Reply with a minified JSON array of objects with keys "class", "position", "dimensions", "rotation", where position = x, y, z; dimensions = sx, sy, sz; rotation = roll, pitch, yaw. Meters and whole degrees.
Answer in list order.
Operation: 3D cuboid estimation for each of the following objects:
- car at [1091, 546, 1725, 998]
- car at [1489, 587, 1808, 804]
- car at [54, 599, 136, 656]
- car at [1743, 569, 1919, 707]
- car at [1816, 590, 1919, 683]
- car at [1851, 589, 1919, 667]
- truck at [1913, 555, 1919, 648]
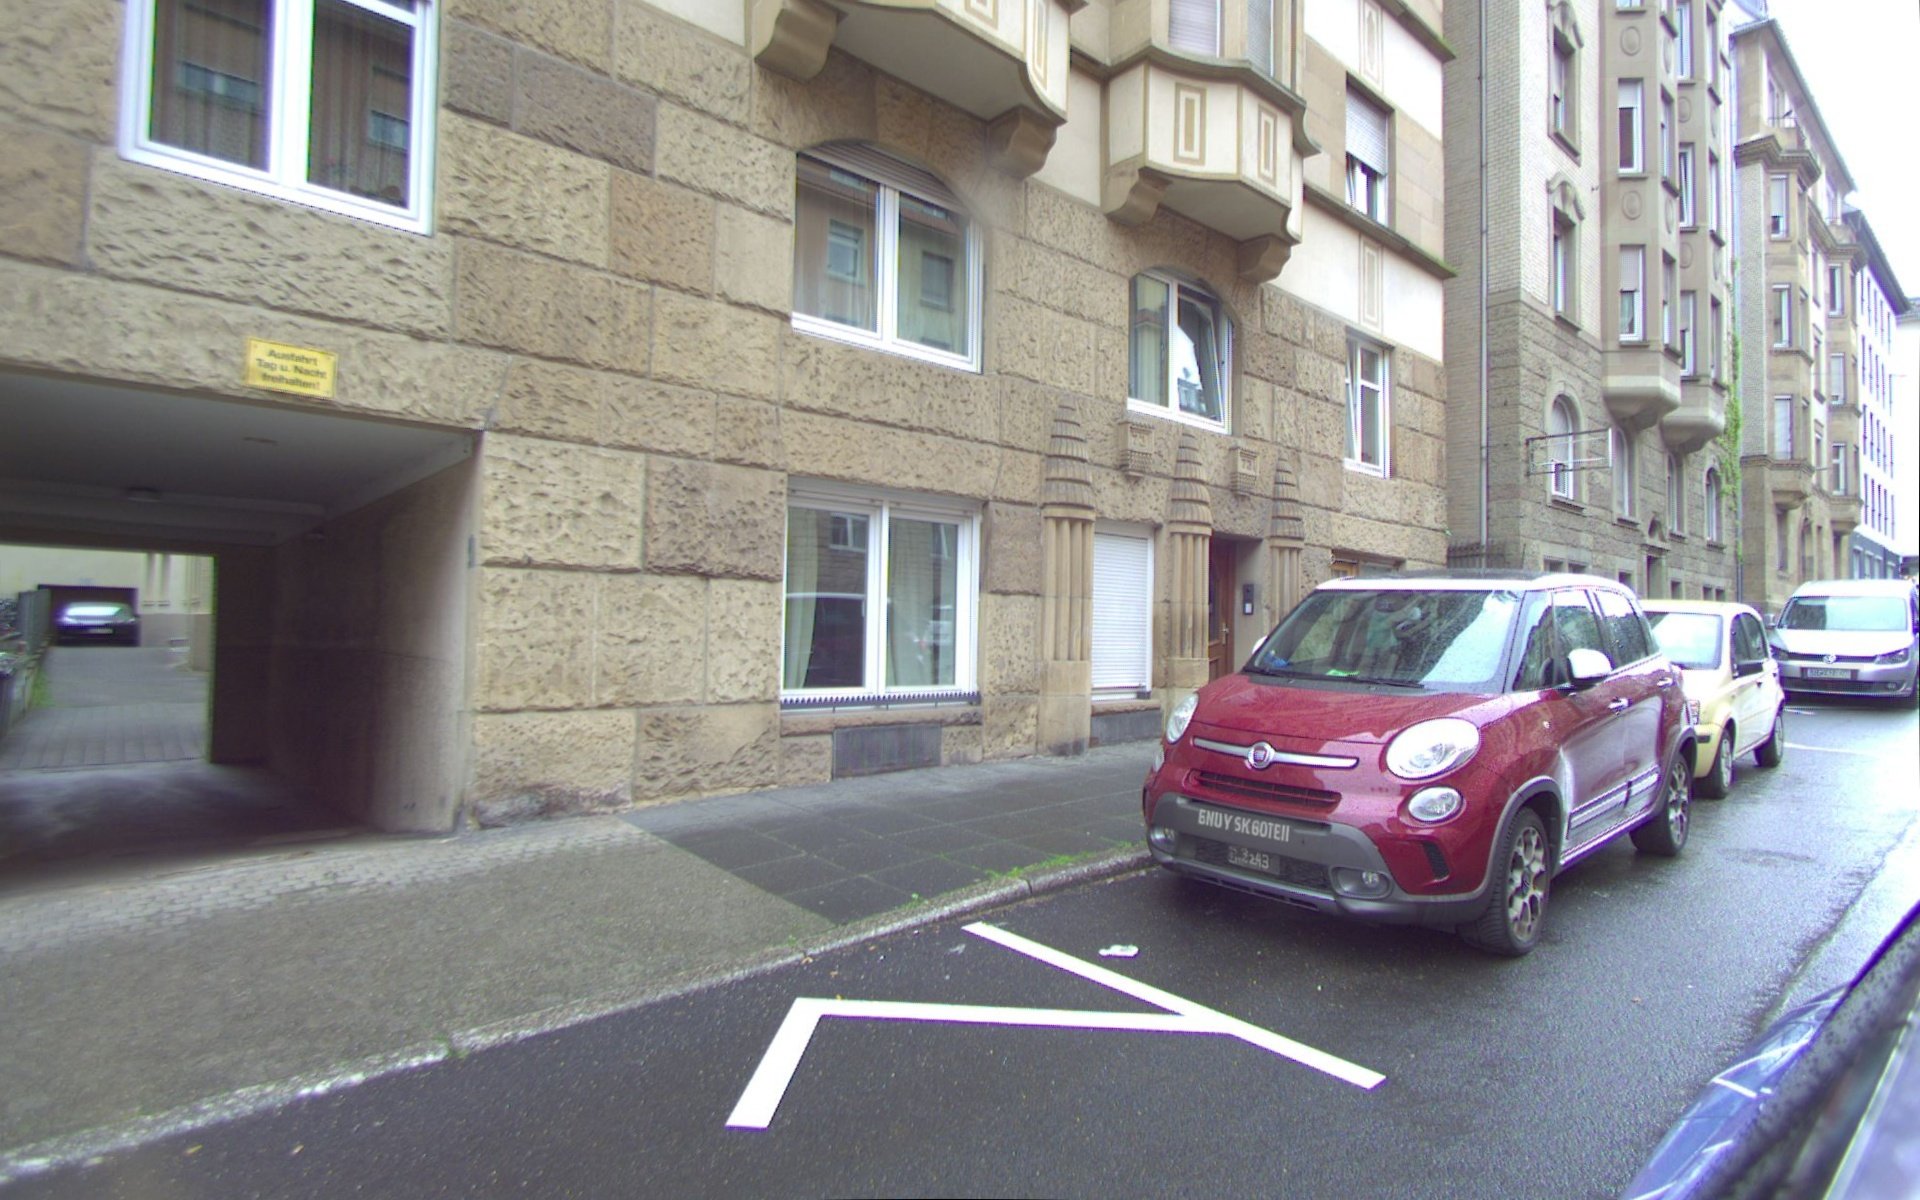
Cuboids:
[{"class":"car","position":[2.700,0.621,5.646],"dimensions":[3.932,1.619,1.804],"rotation":[0,-1,-42]},{"class":"car","position":[6.221,0.684,9.008],"dimensions":[3.517,1.549,1.578],"rotation":[0,-1,-43]},{"class":"car","position":[-25.164,0.753,29.471],"dimensions":[1.692,1.541,4.098],"rotation":[0,-1,-41]},{"class":"car","position":[13.785,0.508,15.525],"dimensions":[4.380,1.825,1.966],"rotation":[0,-1,-41]},{"class":"car","position":[17.193,0.607,18.517],"dimensions":[3.934,1.549,1.994],"rotation":[0,-1,-45]},{"class":"car","position":[20.498,0.554,21.456],"dimensions":[3.860,1.549,1.889],"rotation":[0,-1,-41]},{"class":"truck","position":[29.184,0.029,28.895],"dimensions":[6.036,2.568,2.234],"rotation":[0,-1,-41]}]
